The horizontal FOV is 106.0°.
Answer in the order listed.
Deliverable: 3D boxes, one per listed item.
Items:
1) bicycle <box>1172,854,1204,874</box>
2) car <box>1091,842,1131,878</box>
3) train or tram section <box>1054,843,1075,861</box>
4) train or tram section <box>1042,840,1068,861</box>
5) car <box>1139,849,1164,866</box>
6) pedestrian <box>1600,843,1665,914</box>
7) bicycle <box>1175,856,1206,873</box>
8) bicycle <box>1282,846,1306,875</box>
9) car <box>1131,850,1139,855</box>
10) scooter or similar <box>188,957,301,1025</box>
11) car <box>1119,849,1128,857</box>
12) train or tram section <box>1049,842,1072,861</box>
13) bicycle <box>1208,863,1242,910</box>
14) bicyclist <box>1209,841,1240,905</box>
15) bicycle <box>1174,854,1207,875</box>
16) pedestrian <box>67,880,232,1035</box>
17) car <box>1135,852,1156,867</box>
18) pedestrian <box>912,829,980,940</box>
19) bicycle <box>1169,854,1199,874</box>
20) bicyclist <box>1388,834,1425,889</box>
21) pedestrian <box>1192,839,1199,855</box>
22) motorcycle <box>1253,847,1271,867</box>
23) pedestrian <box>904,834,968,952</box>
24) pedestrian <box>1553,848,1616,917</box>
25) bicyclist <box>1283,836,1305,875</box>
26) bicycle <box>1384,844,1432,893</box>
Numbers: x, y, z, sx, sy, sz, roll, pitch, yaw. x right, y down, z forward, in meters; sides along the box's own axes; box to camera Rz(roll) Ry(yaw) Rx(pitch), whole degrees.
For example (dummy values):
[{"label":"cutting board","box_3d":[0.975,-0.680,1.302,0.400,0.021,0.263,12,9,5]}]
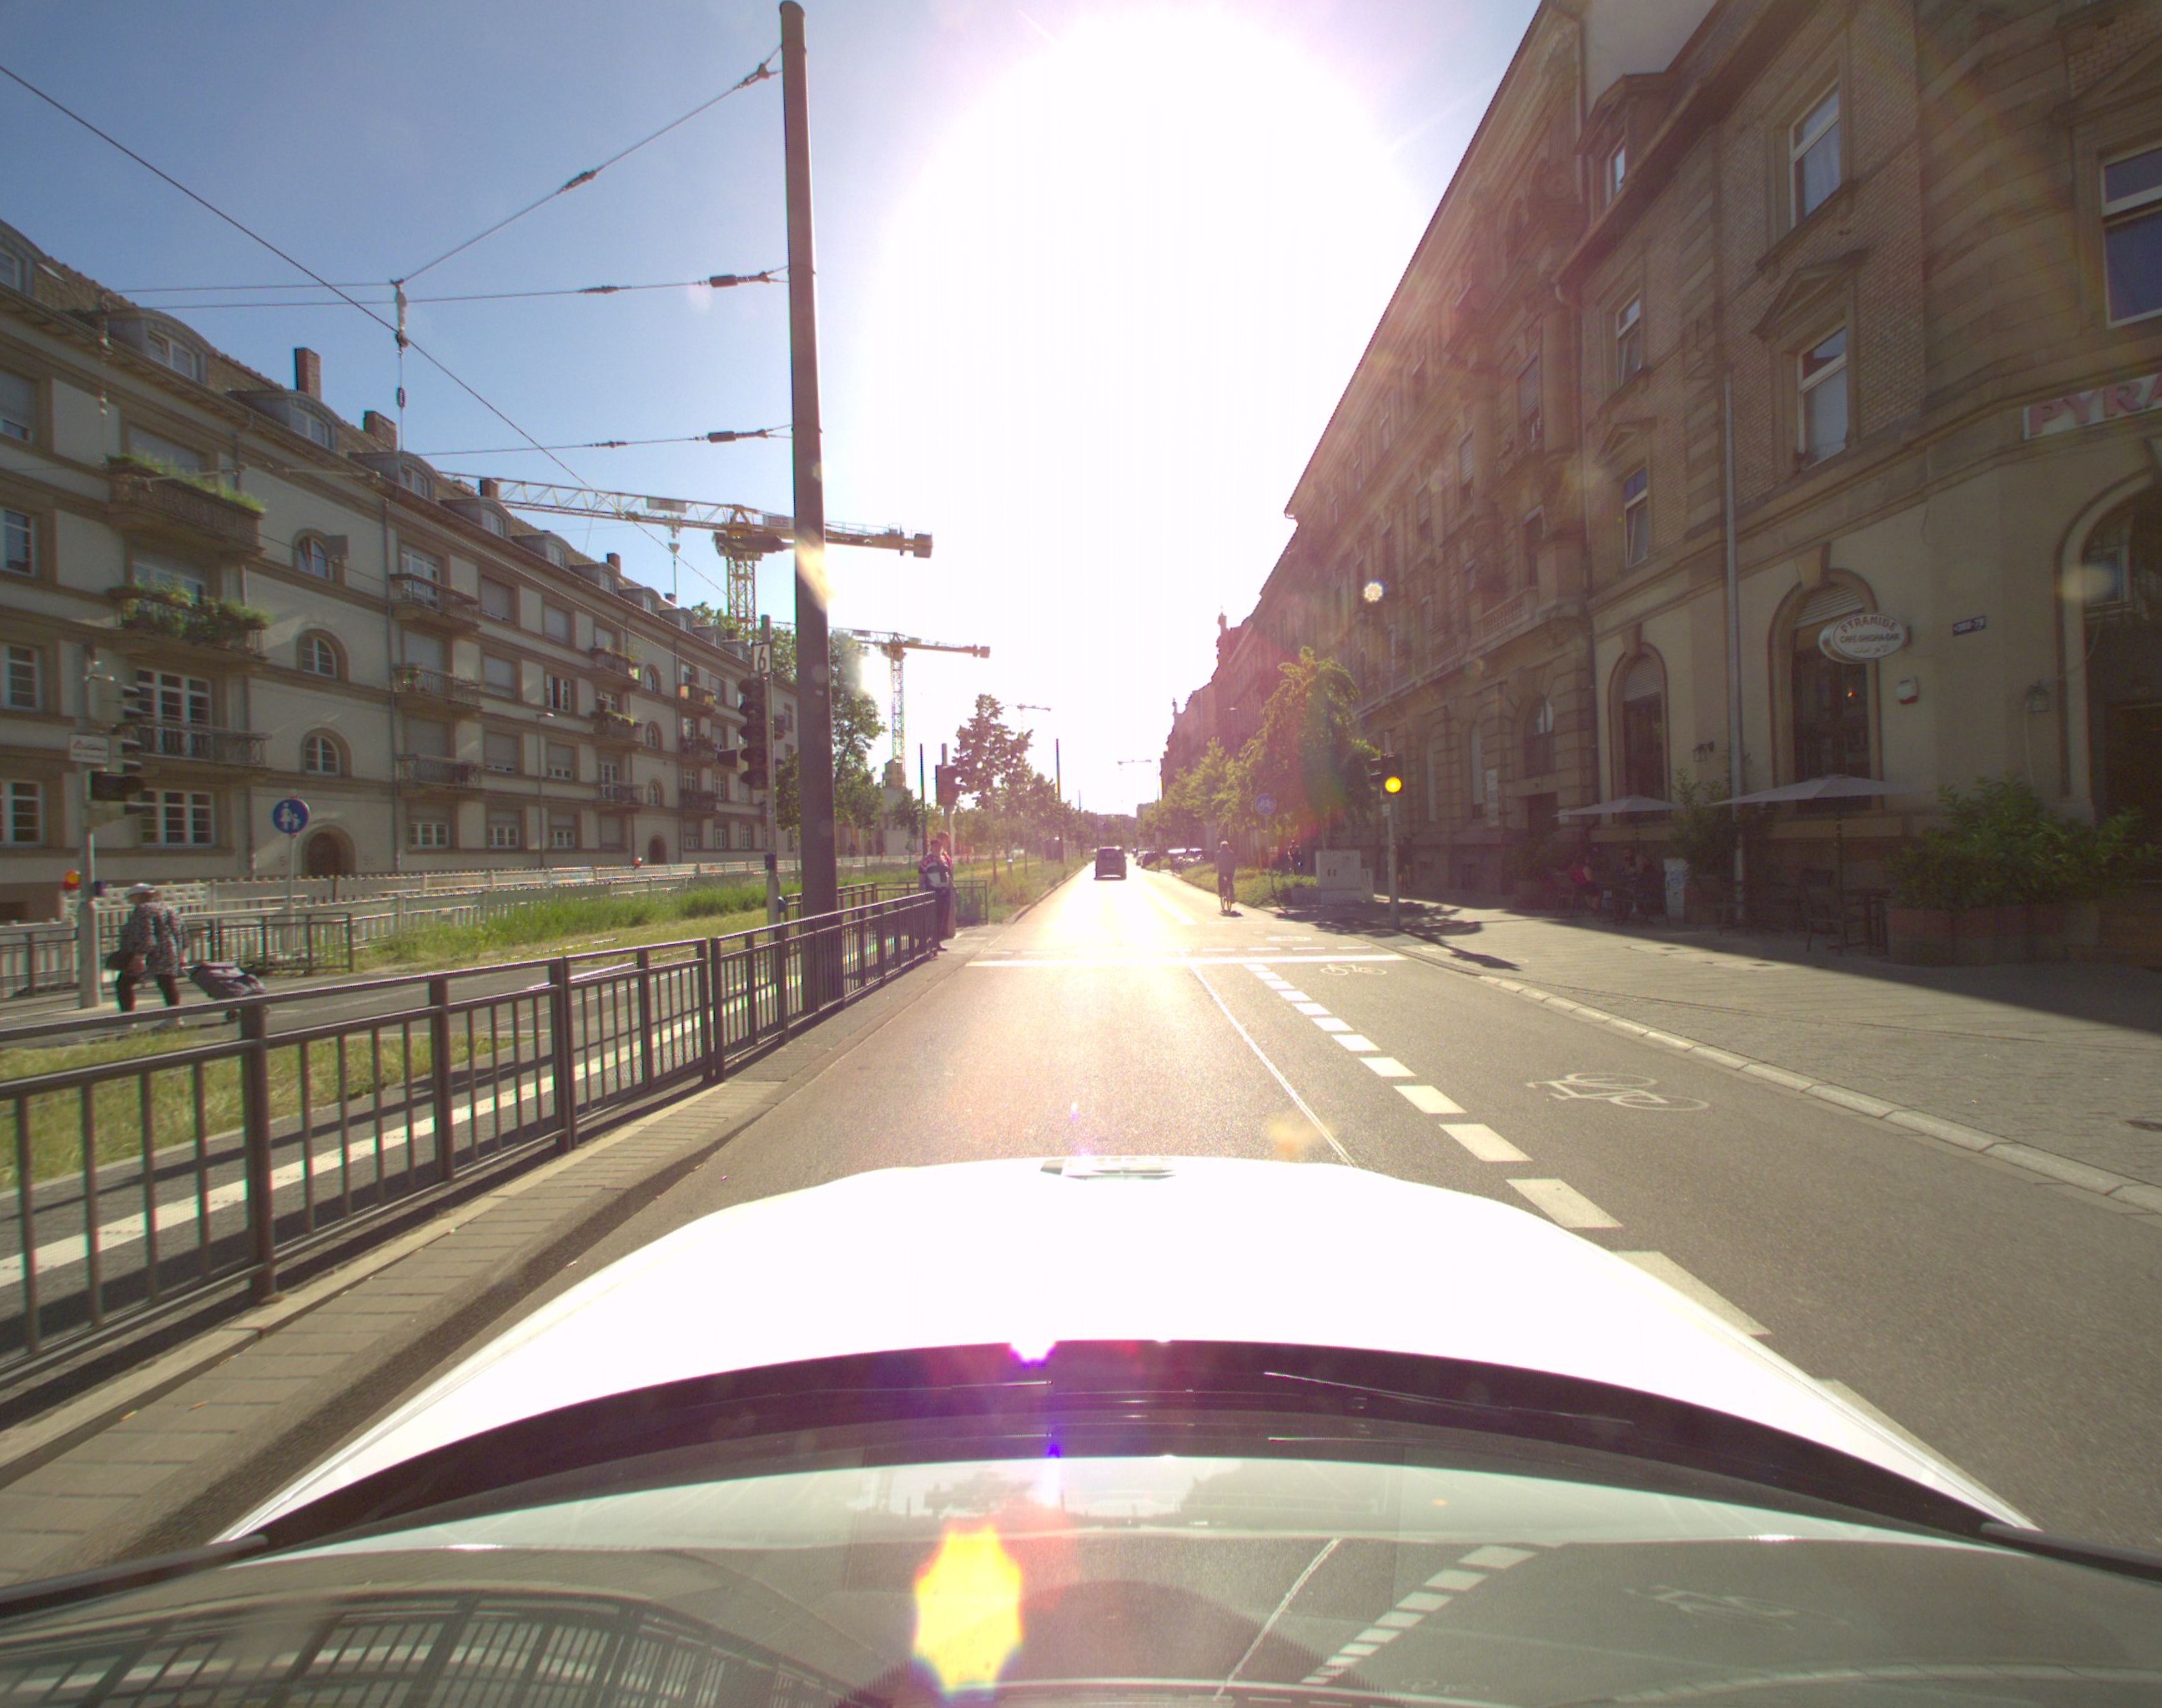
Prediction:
[{"label":"bicycle","box_3d":[6.452,0.615,48.985,1.786,1.030,0.527,-6,0,1]},{"label":"car","box_3d":[1.755,0.321,47.916,2.192,1.926,4.655,-2,0,1]},{"label":"train or tram section","box_3d":[-2.564,-0.301,132.127,2.745,2.743,9.870,-1,0,3]},{"label":"train or tram section","box_3d":[-3.466,-0.439,112.461,2.745,2.743,9.870,-1,0,3]},{"label":"car","box_3d":[6.511,0.307,75.371,2.020,1.499,4.655,-2,0,1]},{"label":"pedestrian","box_3d":[10.066,0.434,14.884,0.703,1.236,0.635,-4,0,1]},{"label":"bicycle","box_3d":[6.792,0.650,50.488,1.786,1.030,0.527,-2,0,1]},{"label":"bicycle","box_3d":[9.293,0.251,35.619,0.581,1.222,1.901,-2,0,2]},{"label":"car","box_3d":[15.084,-0.399,229.350,2.020,1.499,4.332,-2,0,1]},{"label":"scooter or similar","box_3d":[-9.163,1.492,8.937,0.704,0.651,0.516,-1,0,3]},{"label":"car","box_3d":[10.026,-0.168,193.182,1.986,1.838,4.001,-1,0,2]},{"label":"train or tram section","box_3d":[-3.028,-0.369,122.305,2.745,2.743,9.870,-1,0,3]},{"label":"bicycle","box_3d":[3.813,0.835,21.684,0.599,1.181,1.869,0,0,1]},{"label":"bicyclist","box_3d":[3.804,0.487,21.680,0.682,1.673,0.922,0,0,1]},{"label":"bicycle","box_3d":[6.417,0.605,47.611,1.786,1.030,0.527,-6,0,1]},{"label":"pedestrian","box_3d":[-9.863,1.067,8.657,0.809,1.536,0.798,-1,0,3]},{"label":"car","box_3d":[6.913,0.524,87.721,2.020,1.499,4.531,-2,0,1]},{"label":"pedestrian","box_3d":[-2.409,0.532,14.624,1.073,1.908,0.652,-2,0,-5]},{"label":"bicycle","box_3d":[6.546,0.637,51.870,1.786,1.030,0.527,-6,0,1]},{"label":"bicyclist","box_3d":[9.550,0.219,23.908,0.658,1.530,0.801,-6,0,3]},{"label":"pedestrian","box_3d":[11.667,-0.741,83.090,0.611,1.611,0.669,-2,0,1]},{"label":"motorcycle","box_3d":[11.560,0.191,51.963,0.697,1.267,1.983,-2,0,2]},{"label":"pedestrian","box_3d":[-2.270,0.590,12.875,0.863,1.788,0.969,-1,0,-5]},{"label":"pedestrian","box_3d":[9.200,0.508,14.891,0.703,1.178,0.635,-4,0,1]},{"label":"bicyclist","box_3d":[9.303,0.056,35.625,0.664,1.639,0.961,-2,0,1]},{"label":"bicycle","box_3d":[9.552,0.404,23.841,0.613,1.330,1.901,-6,0,3]}]
